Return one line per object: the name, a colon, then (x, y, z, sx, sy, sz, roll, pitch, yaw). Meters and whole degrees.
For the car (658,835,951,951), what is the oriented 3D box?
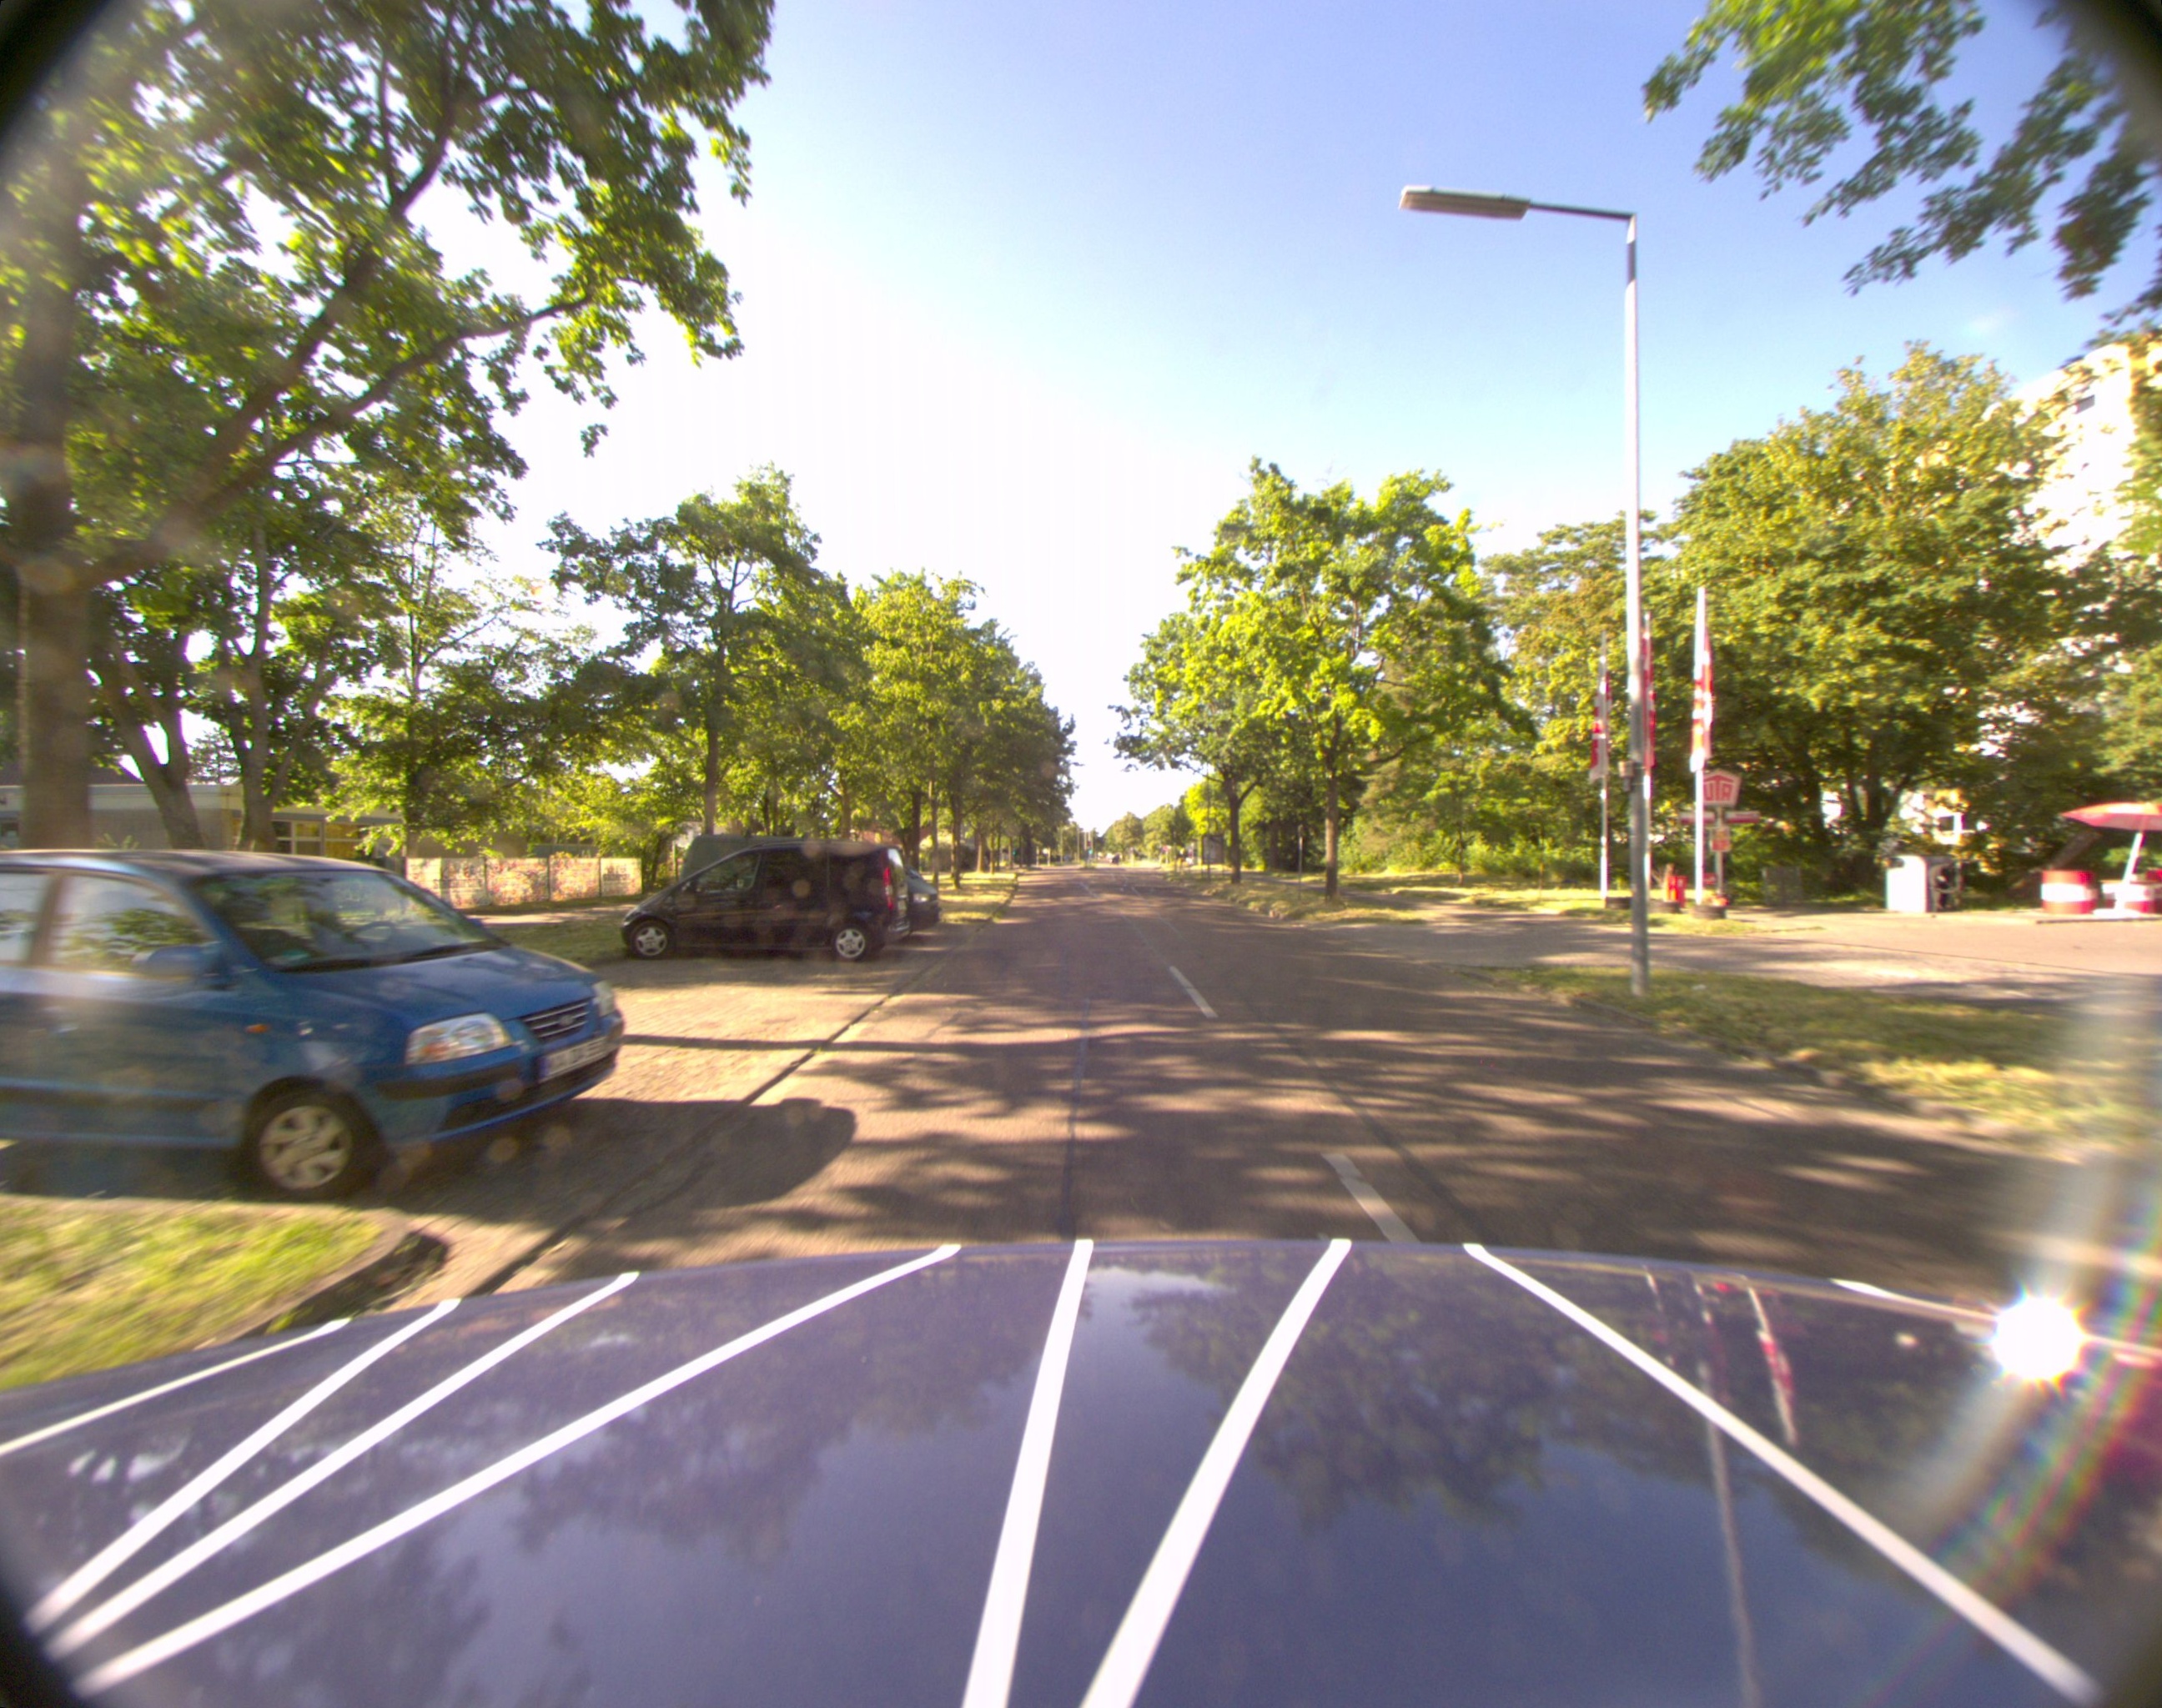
car: (-5.050, 0.686, 14.400, 4.815, 2.020, 1.944, 0, 1, -1)

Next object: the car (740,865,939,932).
car: (-5.410, 0.982, 17.382, 3.999, 1.395, 1.739, 0, 1, 0)

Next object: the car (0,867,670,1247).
car: (-4.438, 0.880, 4.106, 3.529, 1.523, 1.665, 1, 1, 2)

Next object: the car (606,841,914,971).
car: (-4.812, 0.755, 11.852, 4.020, 1.826, 1.799, 1, 1, -3)

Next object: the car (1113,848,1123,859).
car: (7.823, -0.115, 160.748, 1.904, 2.082, 3.641, 1, 0, 0)
